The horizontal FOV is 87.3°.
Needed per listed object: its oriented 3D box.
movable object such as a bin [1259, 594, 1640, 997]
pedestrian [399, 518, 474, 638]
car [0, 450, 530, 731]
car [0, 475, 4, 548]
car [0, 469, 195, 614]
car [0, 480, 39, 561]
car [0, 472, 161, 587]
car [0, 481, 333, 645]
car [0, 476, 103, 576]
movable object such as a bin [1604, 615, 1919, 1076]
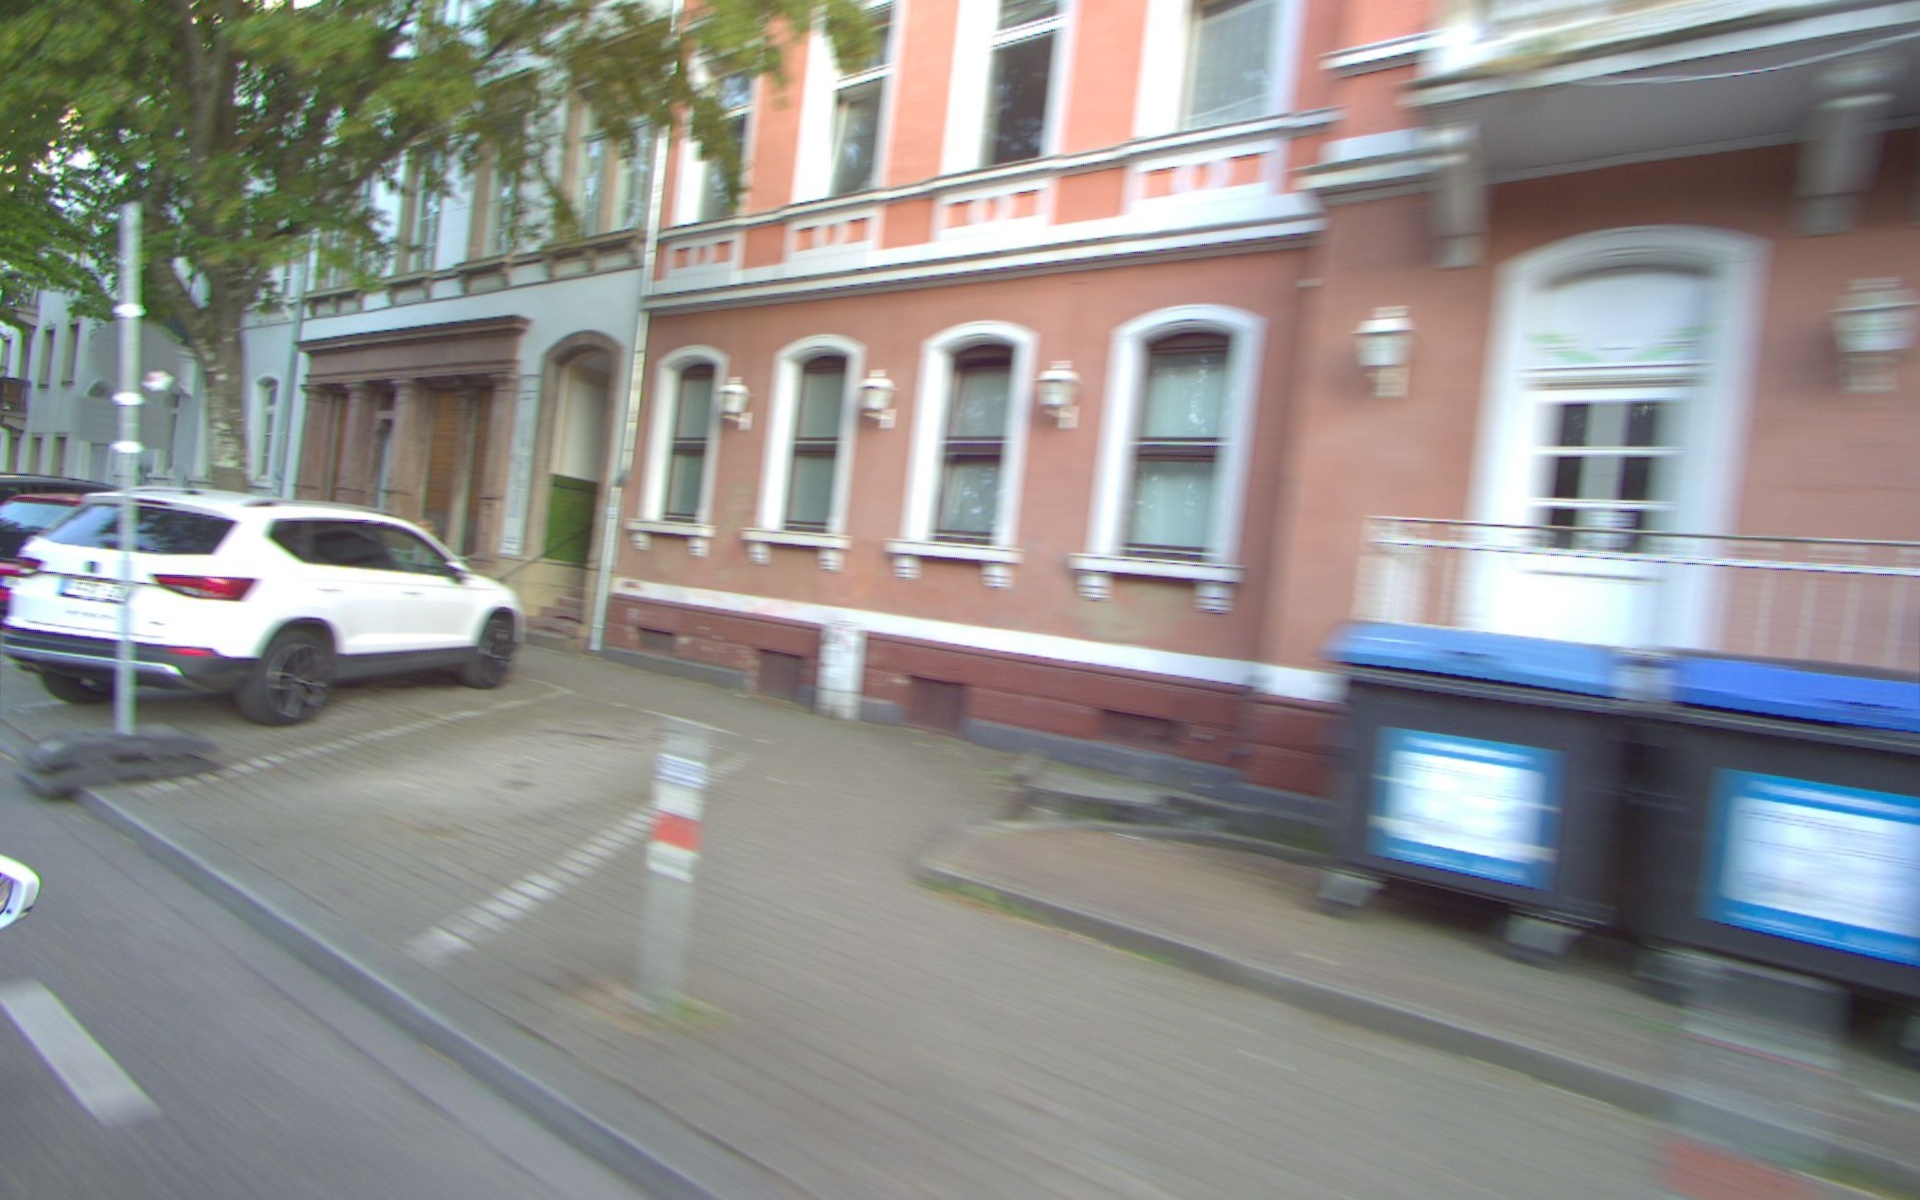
[{"bbox_3d":[2.413,0.838,4.938,1.377,1.520,1.141,7,0,34],"label":"movable object such as a bin"},{"bbox_3d":[-7.544,-0.316,14.499,0.615,1.629,0.586,7,1,35],"label":"pedestrian"},{"bbox_3d":[-5.478,-0.103,8.456,1.642,1.648,3.953,7,2,5],"label":"car"},{"bbox_3d":[-22.354,-2.000,20.507,1.805,1.625,3.952,5,2,3],"label":"car"},{"bbox_3d":[-12.257,-0.804,12.998,1.867,1.691,3.949,5,2,-5],"label":"car"},{"bbox_3d":[-20.336,-1.690,19.159,1.806,1.624,3.953,5,1,1],"label":"car"},{"bbox_3d":[-14.569,-1.106,15.179,1.713,1.626,3.949,5,3,3],"label":"car"},{"bbox_3d":[-9.504,-0.455,11.724,1.796,1.496,3.951,7,2,0],"label":"car"},{"bbox_3d":[-16.721,-1.303,16.478,1.805,1.625,3.952,5,2,3],"label":"car"},{"bbox_3d":[3.552,0.929,4.114,1.377,1.520,1.141,7,0,34],"label":"movable object such as a bin"}]
